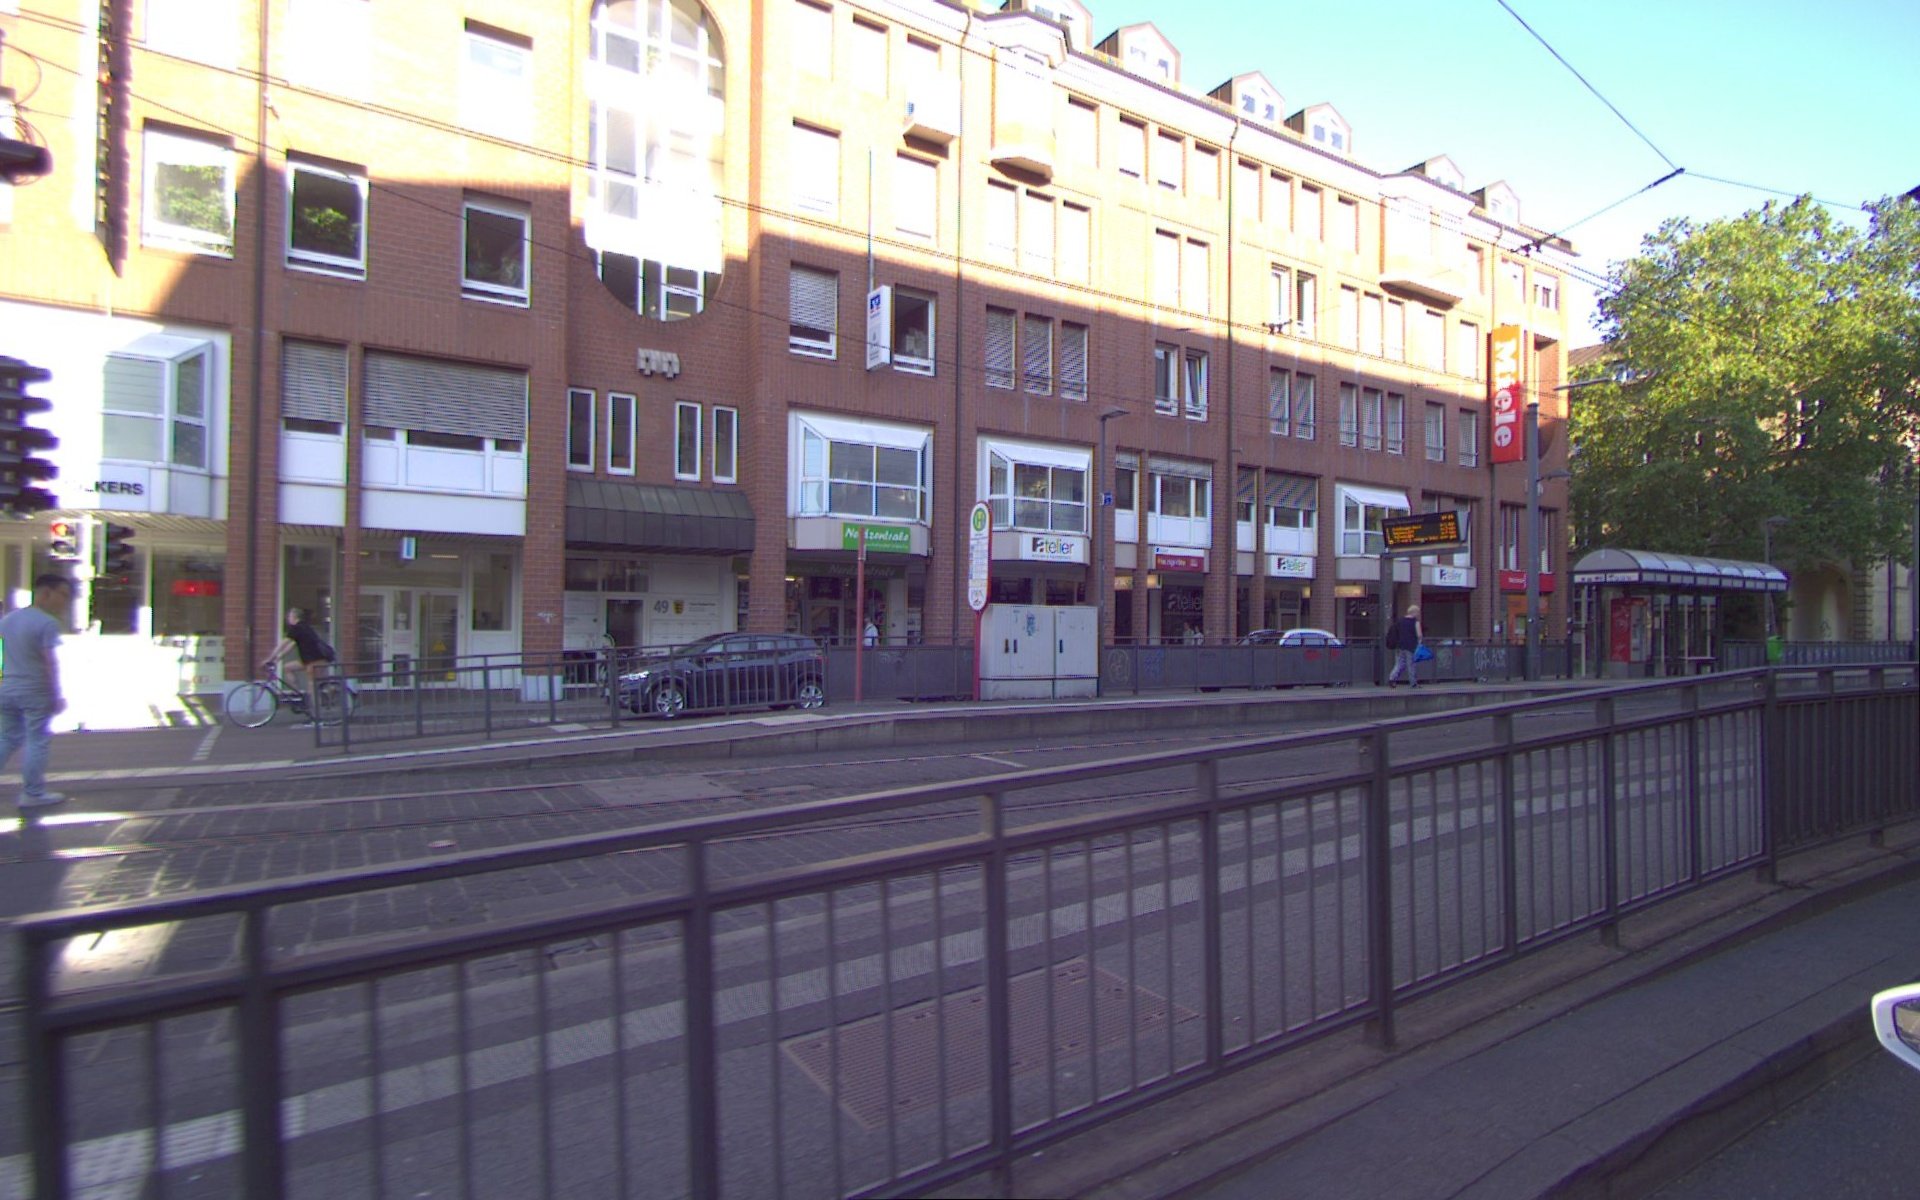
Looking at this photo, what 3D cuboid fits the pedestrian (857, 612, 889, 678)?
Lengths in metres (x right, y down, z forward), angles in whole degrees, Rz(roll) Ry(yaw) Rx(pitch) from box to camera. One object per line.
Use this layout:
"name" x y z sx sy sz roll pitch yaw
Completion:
"pedestrian" -2.267 1.168 26.152 0.630 1.684 0.608 1 -1 -33

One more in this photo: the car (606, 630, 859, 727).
"car" -4.063 1.333 18.126 4.076 1.549 1.891 1 -2 -33

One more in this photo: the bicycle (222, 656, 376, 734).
"bicycle" -10.624 1.504 16.201 2.035 1.135 0.568 1 1 -35

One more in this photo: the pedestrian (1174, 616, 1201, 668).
"pedestrian" 7.429 1.360 32.803 0.631 1.684 0.607 2 -1 -37

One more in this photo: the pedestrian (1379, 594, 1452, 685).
"pedestrian" 8.716 0.744 19.234 0.957 1.684 0.906 1 -1 -33

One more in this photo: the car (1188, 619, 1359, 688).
"car" 8.063 1.401 25.758 4.243 1.614 1.900 3 -4 -31

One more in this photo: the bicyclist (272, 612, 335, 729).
"bicyclist" -10.597 1.113 16.209 0.803 1.790 0.731 1 1 -35

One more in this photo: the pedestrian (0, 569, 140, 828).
"pedestrian" -6.814 0.678 7.402 0.844 1.790 0.811 2 1 -1

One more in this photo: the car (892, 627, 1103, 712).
"car" 0.831 1.386 21.240 4.152 1.621 1.882 1 -2 -33
